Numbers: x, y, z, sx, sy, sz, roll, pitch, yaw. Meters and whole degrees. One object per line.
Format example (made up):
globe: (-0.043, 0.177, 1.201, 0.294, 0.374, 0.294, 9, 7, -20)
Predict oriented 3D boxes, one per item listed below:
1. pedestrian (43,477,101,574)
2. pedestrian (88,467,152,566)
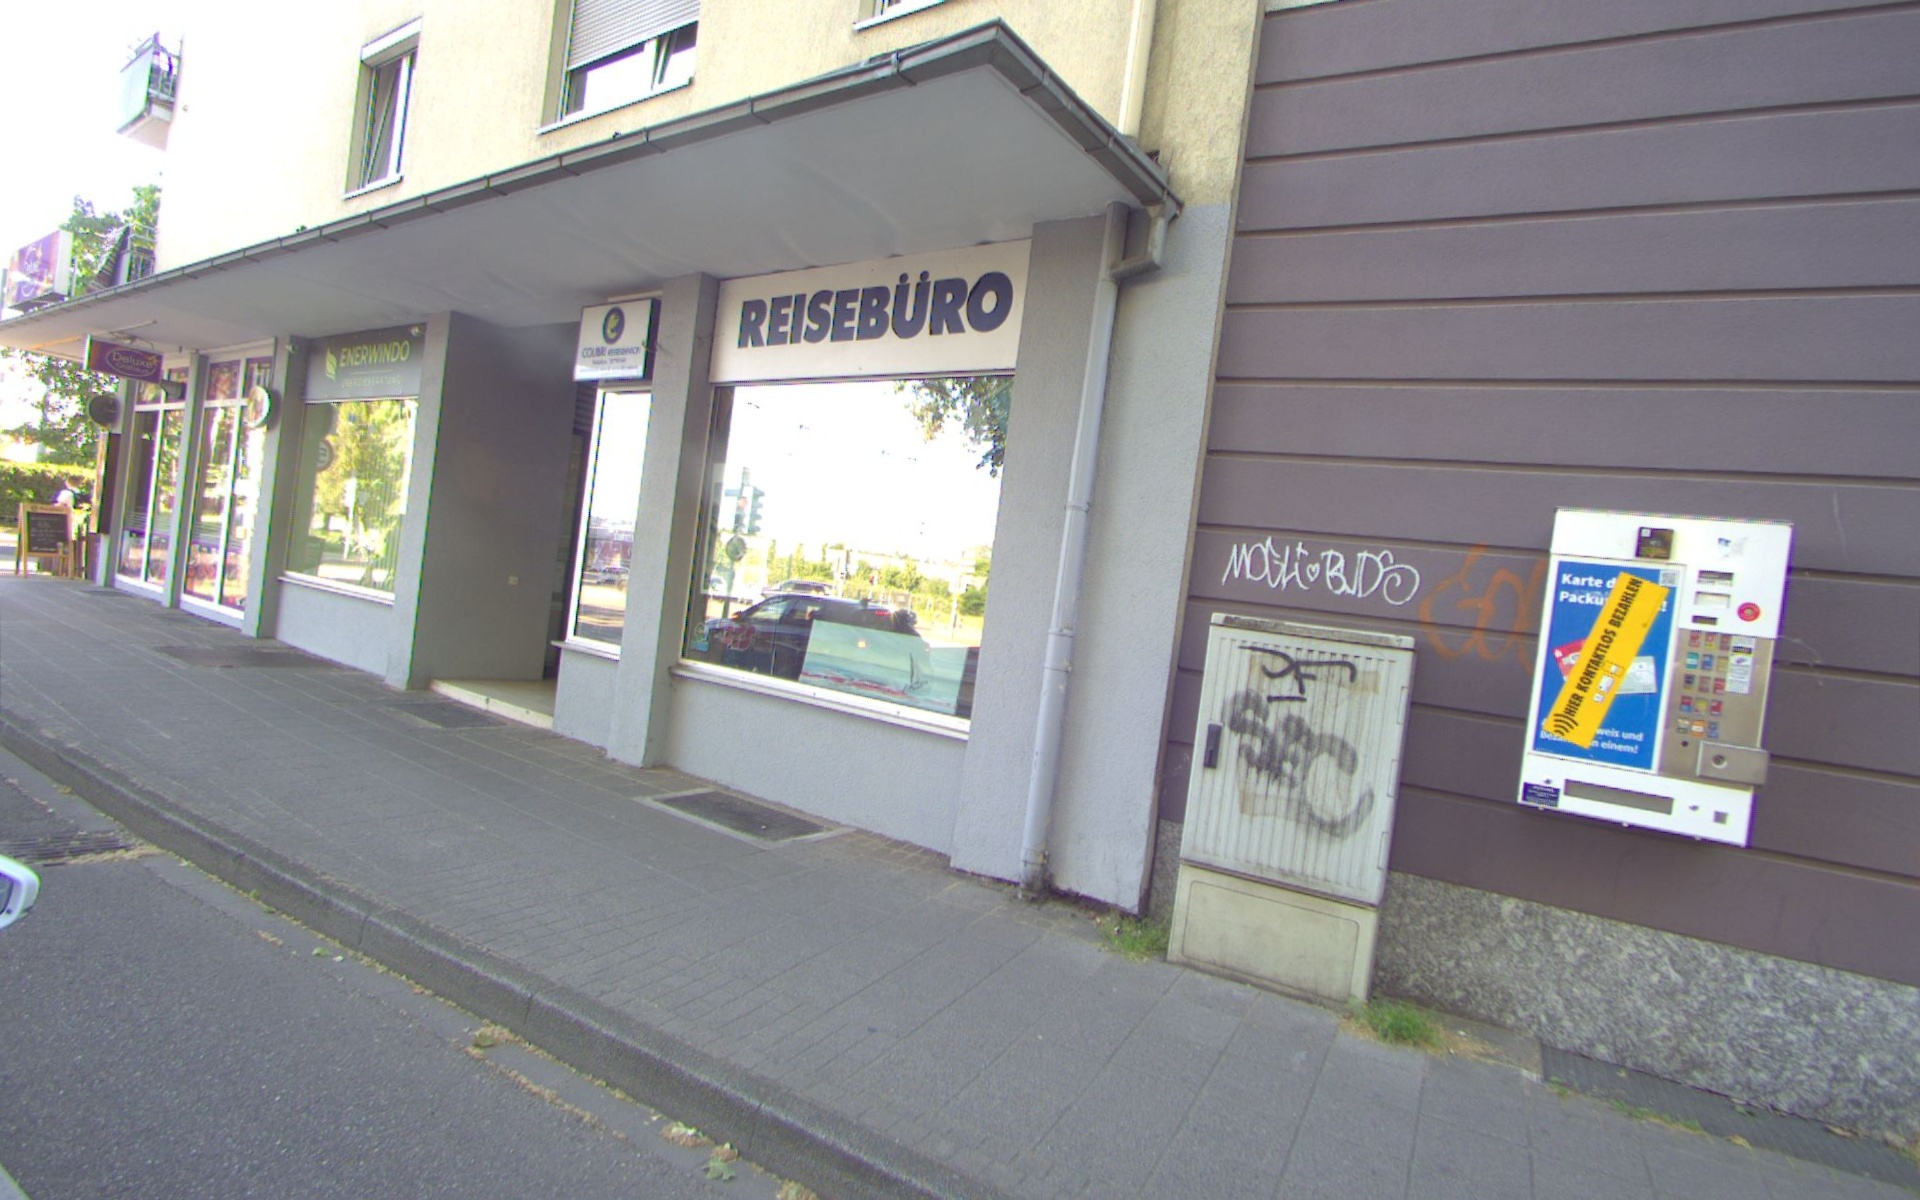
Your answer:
pedestrian: (-17.335, -1.445, 19.636, 0.575, 1.783, 0.632, 6, -1, 44)
pedestrian: (-16.817, -1.664, 20.146, 0.627, 1.841, 0.741, 6, -1, 44)
